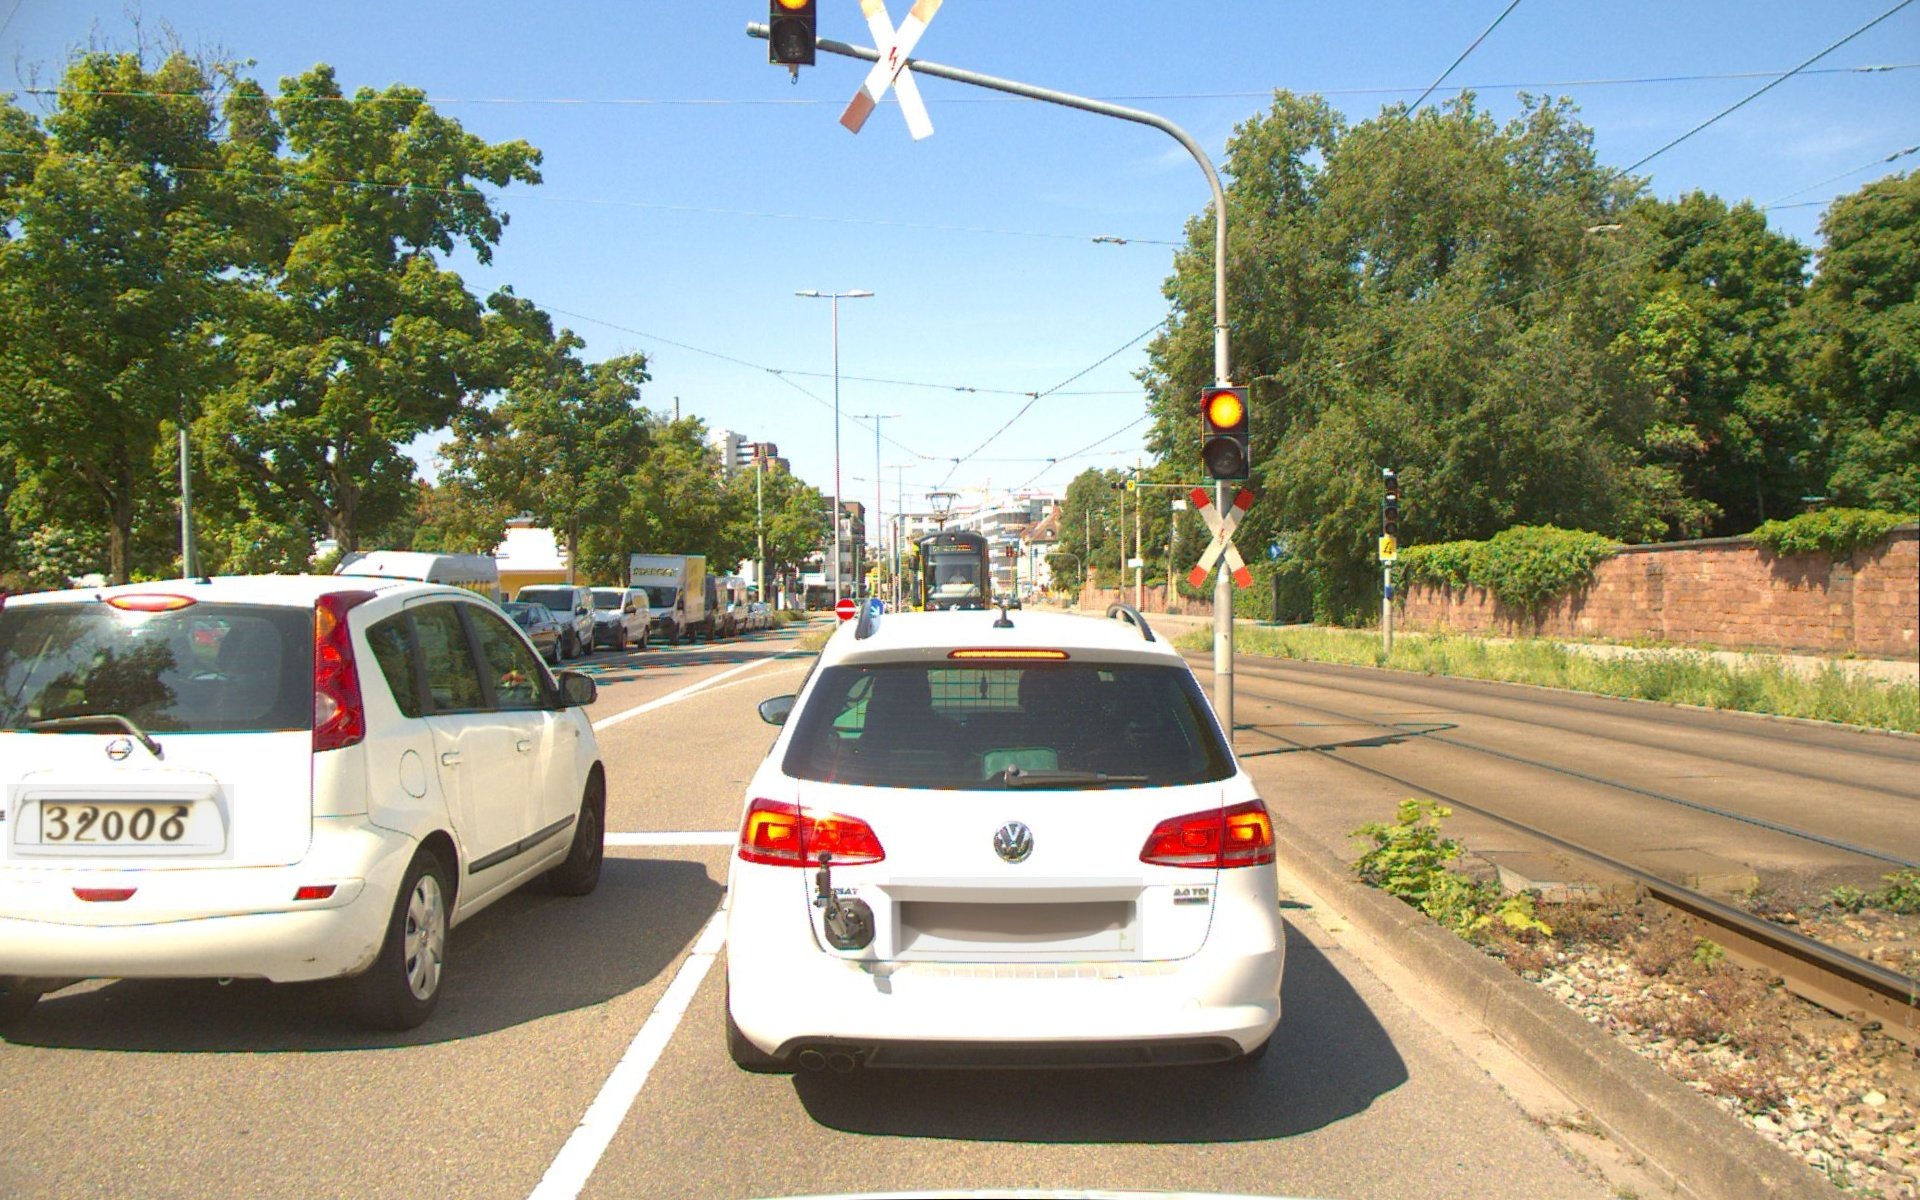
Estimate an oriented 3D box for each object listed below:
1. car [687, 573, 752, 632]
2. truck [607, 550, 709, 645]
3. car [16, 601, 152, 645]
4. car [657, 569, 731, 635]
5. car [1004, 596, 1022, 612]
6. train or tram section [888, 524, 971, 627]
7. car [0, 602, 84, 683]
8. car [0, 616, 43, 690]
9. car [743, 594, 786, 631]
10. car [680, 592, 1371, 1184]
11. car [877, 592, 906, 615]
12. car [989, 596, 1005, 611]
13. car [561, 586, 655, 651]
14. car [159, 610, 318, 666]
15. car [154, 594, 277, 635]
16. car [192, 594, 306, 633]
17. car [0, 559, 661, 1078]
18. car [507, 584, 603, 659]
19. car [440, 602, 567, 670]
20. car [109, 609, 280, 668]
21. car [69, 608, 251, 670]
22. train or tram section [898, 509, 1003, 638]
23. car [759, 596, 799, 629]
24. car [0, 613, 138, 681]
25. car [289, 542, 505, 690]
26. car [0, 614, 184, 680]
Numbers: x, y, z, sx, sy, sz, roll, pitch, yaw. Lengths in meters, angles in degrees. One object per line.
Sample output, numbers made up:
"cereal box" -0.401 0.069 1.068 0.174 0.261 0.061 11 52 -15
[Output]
"car" -10.934 0.100 75.582 2.079 2.560 5.733 1 0 0
"truck" -10.878 -0.111 60.147 2.371 3.205 6.996 1 0 0
"car" -37.778 0.984 71.419 4.698 1.819 2.062 1 0 -5
"car" -10.887 0.067 68.146 2.079 2.560 5.733 1 0 0
"car" 6.526 0.514 203.504 1.826 1.900 5.060 1 0 -2
"train or tram section" -1.423 -0.971 69.621 2.814 3.923 12.382 -1 0 -4
"car" -21.090 0.962 35.198 3.909 1.638 1.728 -2 0 -5
"car" -20.739 1.122 32.921 3.909 1.440 1.728 -2 0 -5
"car" -10.773 0.661 91.506 1.826 1.900 5.412 1 0 -1
"car" 0.142 0.716 6.199 1.726 1.455 3.999 -1 0 -1
"car" -4.657 0.249 112.707 1.670 1.499 4.589 -1 0 0
"car" 4.888 0.487 218.426 1.826 1.900 5.060 1 0 -2
"car" -10.936 0.529 51.723 1.826 1.900 5.412 1 0 -1
"car" -21.285 1.102 48.926 3.909 1.440 1.728 -2 0 -5
"car" -34.390 0.668 76.524 4.698 1.819 2.062 1 0 -5
"car" -34.909 0.679 81.294 4.698 1.819 2.062 1 0 -5
"car" -2.551 0.652 7.294 1.628 1.575 4.546 0 0 0
"car" -10.986 0.531 45.138 1.828 1.900 5.068 1 0 -6
"car" -10.567 0.801 38.576 1.826 1.440 4.278 1 0 -1
"car" -21.296 1.057 46.108 3.909 1.440 1.728 -2 0 -5
"car" -21.118 1.024 43.780 3.909 1.440 1.728 -2 0 -5
"train or tram section" -0.522 -0.860 57.225 2.814 3.923 12.382 -1 0 -4
"car" -10.722 0.712 98.423 1.826 1.900 5.412 1 0 -1
"car" -21.624 1.115 38.631 3.909 1.440 1.728 -2 0 -5
"car" -10.752 0.275 32.126 2.079 2.560 5.817 1 0 1
"car" -21.738 1.167 41.218 3.909 1.440 1.728 -2 0 -5
